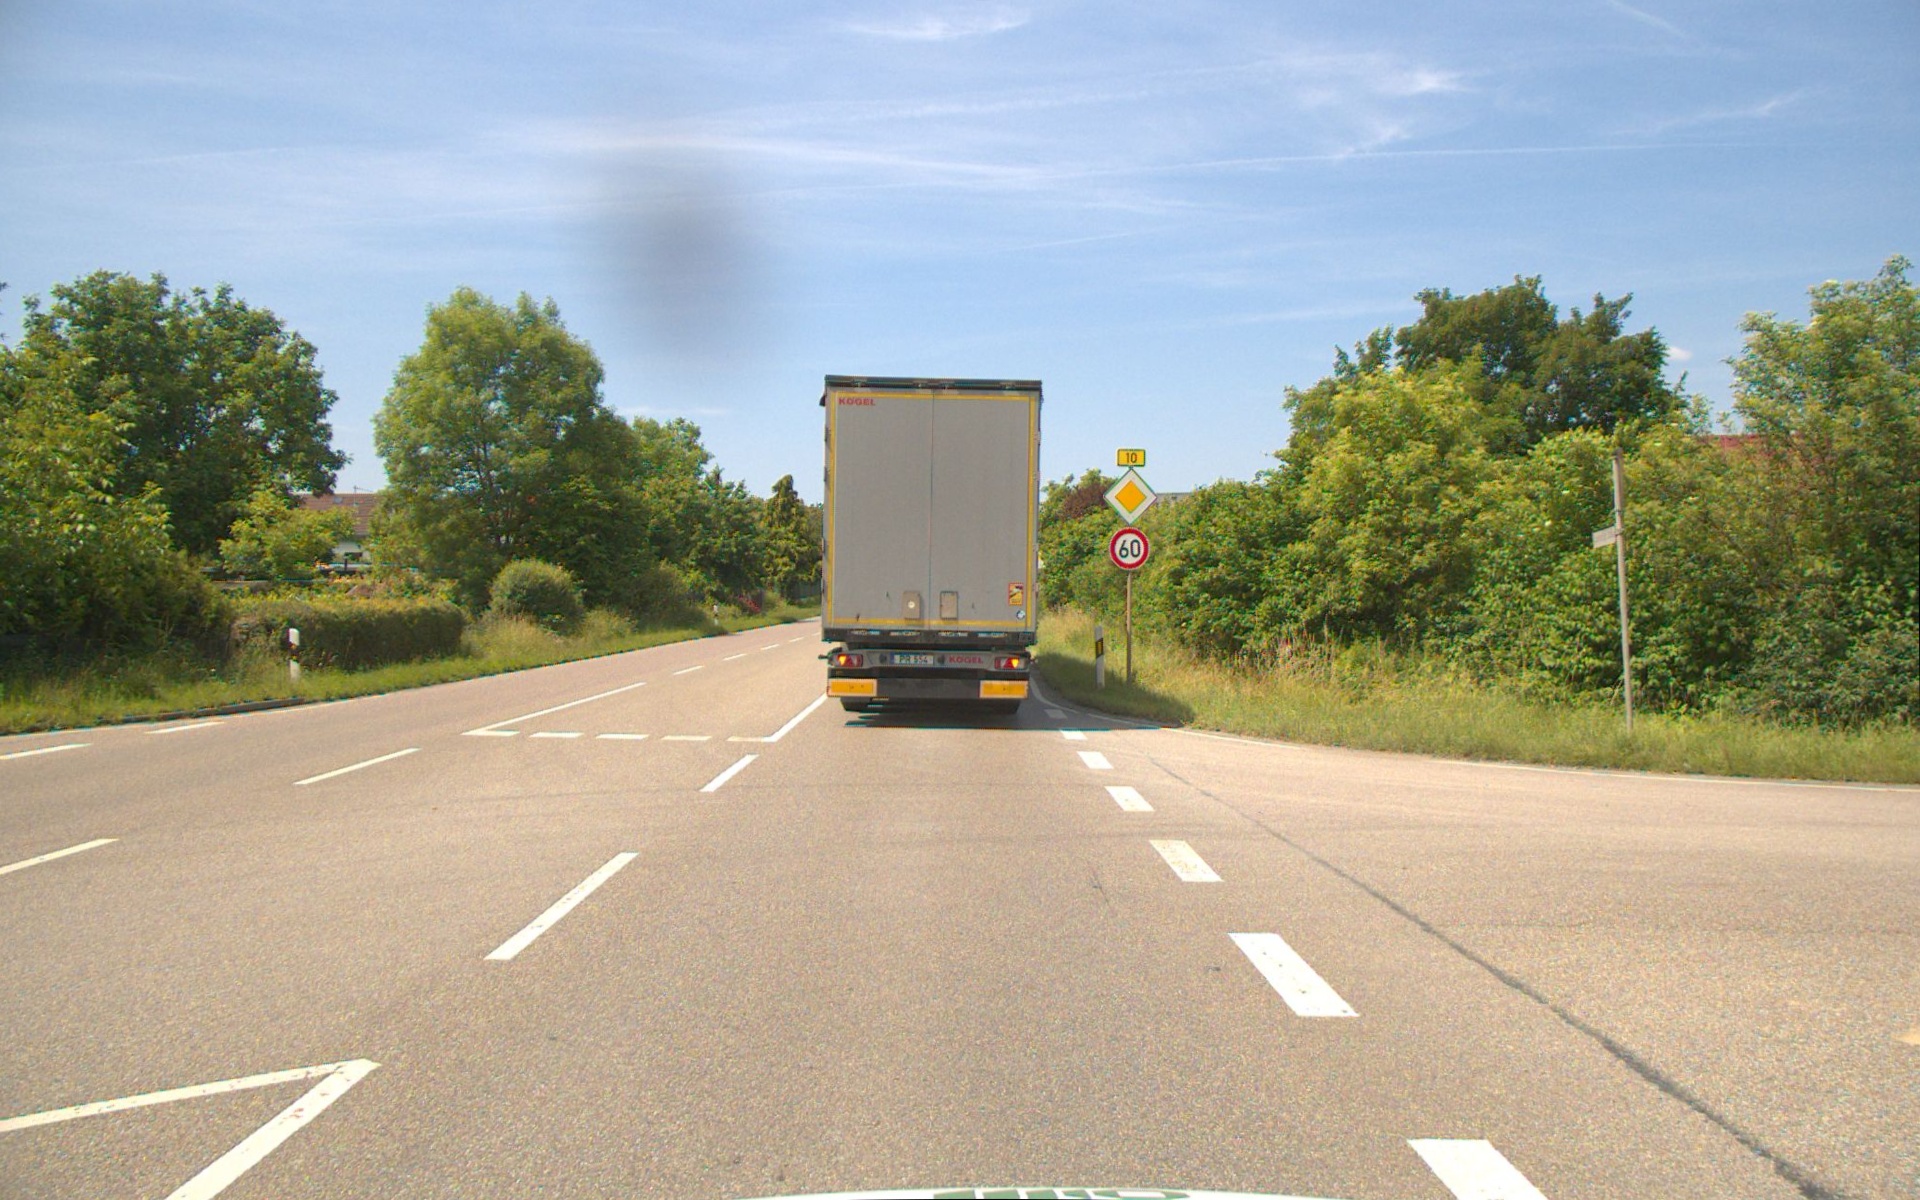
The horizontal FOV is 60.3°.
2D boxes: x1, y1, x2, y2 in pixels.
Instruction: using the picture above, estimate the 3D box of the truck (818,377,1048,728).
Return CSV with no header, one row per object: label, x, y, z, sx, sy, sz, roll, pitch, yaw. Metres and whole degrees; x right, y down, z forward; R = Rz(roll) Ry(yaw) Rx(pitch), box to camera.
truck,-0.373,-0.570,23.277,2.593,3.985,8.823,0,0,-1
